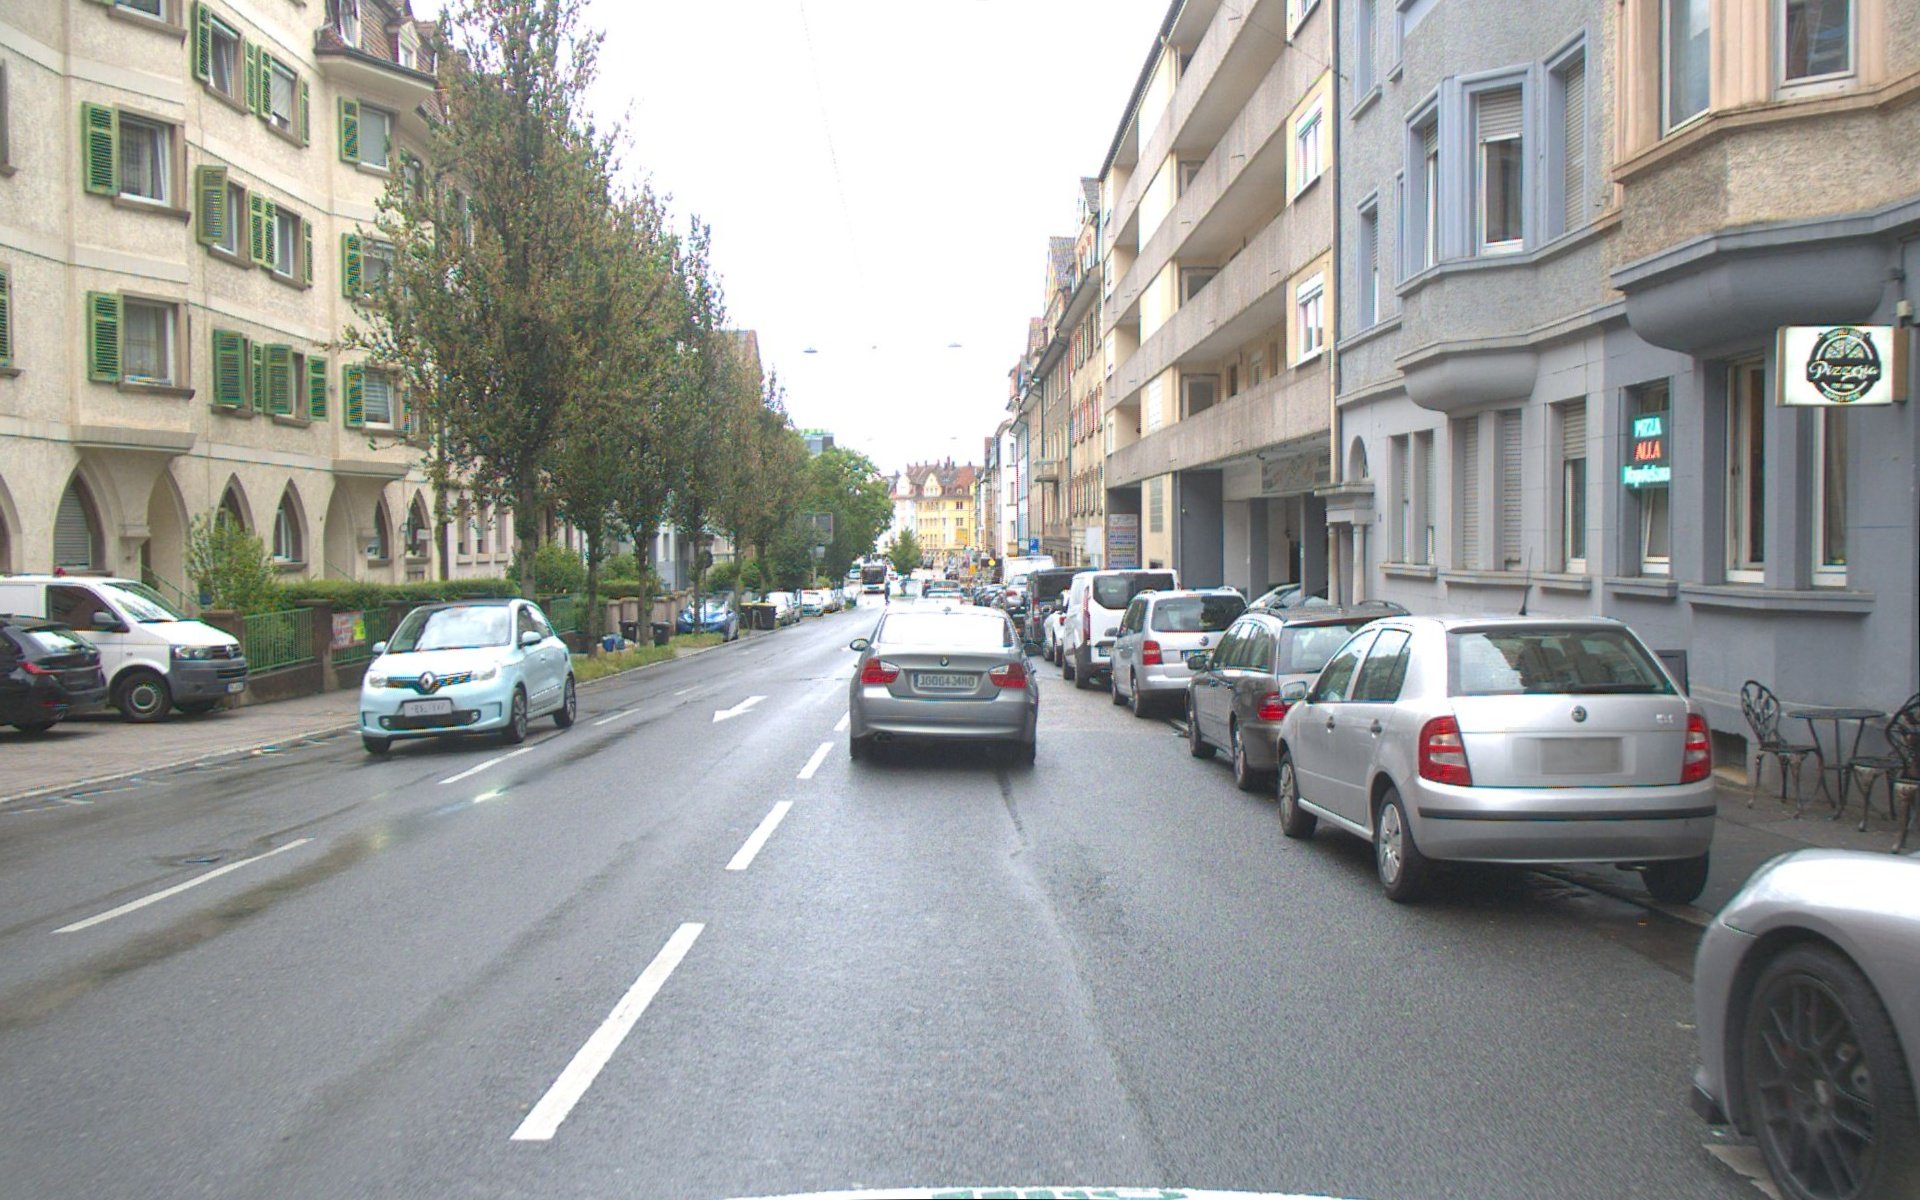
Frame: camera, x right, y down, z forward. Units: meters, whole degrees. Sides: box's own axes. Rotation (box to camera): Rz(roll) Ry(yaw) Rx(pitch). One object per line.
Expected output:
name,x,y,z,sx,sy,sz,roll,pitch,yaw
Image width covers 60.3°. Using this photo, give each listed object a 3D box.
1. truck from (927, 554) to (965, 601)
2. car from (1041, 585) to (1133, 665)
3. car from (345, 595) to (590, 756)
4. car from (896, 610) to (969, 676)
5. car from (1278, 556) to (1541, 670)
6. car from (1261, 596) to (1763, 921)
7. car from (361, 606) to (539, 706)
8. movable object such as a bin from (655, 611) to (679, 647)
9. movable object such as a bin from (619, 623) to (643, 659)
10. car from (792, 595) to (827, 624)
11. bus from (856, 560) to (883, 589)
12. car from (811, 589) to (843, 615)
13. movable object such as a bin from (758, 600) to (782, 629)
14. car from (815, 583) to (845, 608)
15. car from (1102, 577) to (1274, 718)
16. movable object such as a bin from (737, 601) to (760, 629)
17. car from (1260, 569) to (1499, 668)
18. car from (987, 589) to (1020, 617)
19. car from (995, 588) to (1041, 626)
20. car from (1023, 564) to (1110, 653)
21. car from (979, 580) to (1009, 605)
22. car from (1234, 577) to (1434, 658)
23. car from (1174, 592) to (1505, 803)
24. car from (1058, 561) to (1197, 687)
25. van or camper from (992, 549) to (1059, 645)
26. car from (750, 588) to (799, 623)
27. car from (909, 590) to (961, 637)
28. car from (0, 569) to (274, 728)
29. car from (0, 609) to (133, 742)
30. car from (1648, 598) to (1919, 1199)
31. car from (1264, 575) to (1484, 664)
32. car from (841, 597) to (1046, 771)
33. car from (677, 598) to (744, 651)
truck,-0.797,-1.217,91.487,1.991,2.455,4.825,1,0,-1
car,2.858,0.529,38.034,1.691,1.699,4.288,-2,0,-1
car,-5.415,0.759,18.654,1.603,1.534,3.754,-3,0,-1
car,-0.614,0.991,39.677,1.647,1.453,3.741,1,0,0
car,7.771,0.204,28.687,4.234,1.836,2.008,0,2,17
car,2.964,0.743,9.789,1.578,1.500,4.015,1,0,-1
car,-8.427,0.874,27.664,1.691,1.509,3.989,2,0,0
movable object such as a bin,-7.833,0.765,44.229,0.565,0.928,0.638,-2,0,-15
movable object such as a bin,-8.753,1.081,44.002,0.565,0.928,0.638,-2,0,-15
car,-8.940,0.552,98.393,1.656,1.550,3.736,-2,0,0
bus,-10.101,-2.813,185.566,2.614,3.077,7.669,-2,0,-1
car,-8.517,0.125,105.808,1.656,1.550,3.736,-2,0,0
movable object such as a bin,-8.070,0.609,70.374,0.916,1.189,0.909,0,0,-1
car,-8.645,-0.321,110.180,1.656,1.550,3.736,-2,0,0
car,3.074,0.590,23.120,1.691,1.699,4.288,-3,0,-1
movable object such as a bin,-9.006,0.622,70.350,0.883,1.189,0.895,0,0,-1
car,7.861,0.334,31.250,4.233,1.756,1.911,-1,2,12
car,2.423,0.161,93.075,1.663,1.509,3.974,1,0,-1
car,2.407,0.283,69.097,1.663,1.509,3.974,1,0,-1
car,2.812,0.200,44.596,1.941,2.203,4.749,-2,0,-1
car,2.103,-0.449,102.998,1.663,1.509,3.974,1,0,-1
car,8.209,0.371,36.477,4.195,1.669,1.669,-1,2,12
car,3.216,0.736,15.070,1.861,1.504,4.798,-3,0,0
car,2.932,0.393,29.947,1.941,2.042,4.624,-2,0,-1
van or camper,2.226,-0.121,55.218,1.991,2.918,6.888,2,0,3
car,-8.725,0.241,77.966,1.790,1.550,3.736,-2,0,0
car,-0.867,0.459,55.835,1.663,1.509,3.792,1,0,-1
car,-12.192,0.649,22.593,4.731,2.008,2.047,-1,0,-1
car,-12.442,0.902,19.575,4.343,1.477,1.791,-1,0,-3
car,3.195,0.757,2.550,1.839,1.493,4.768,1,0,-7
car,8.293,0.385,33.364,4.195,1.669,1.669,-1,2,12
car,-0.127,0.724,16.037,1.733,1.453,3.741,1,0,0
car,-8.467,0.805,56.340,1.731,1.621,3.999,-2,0,-2
